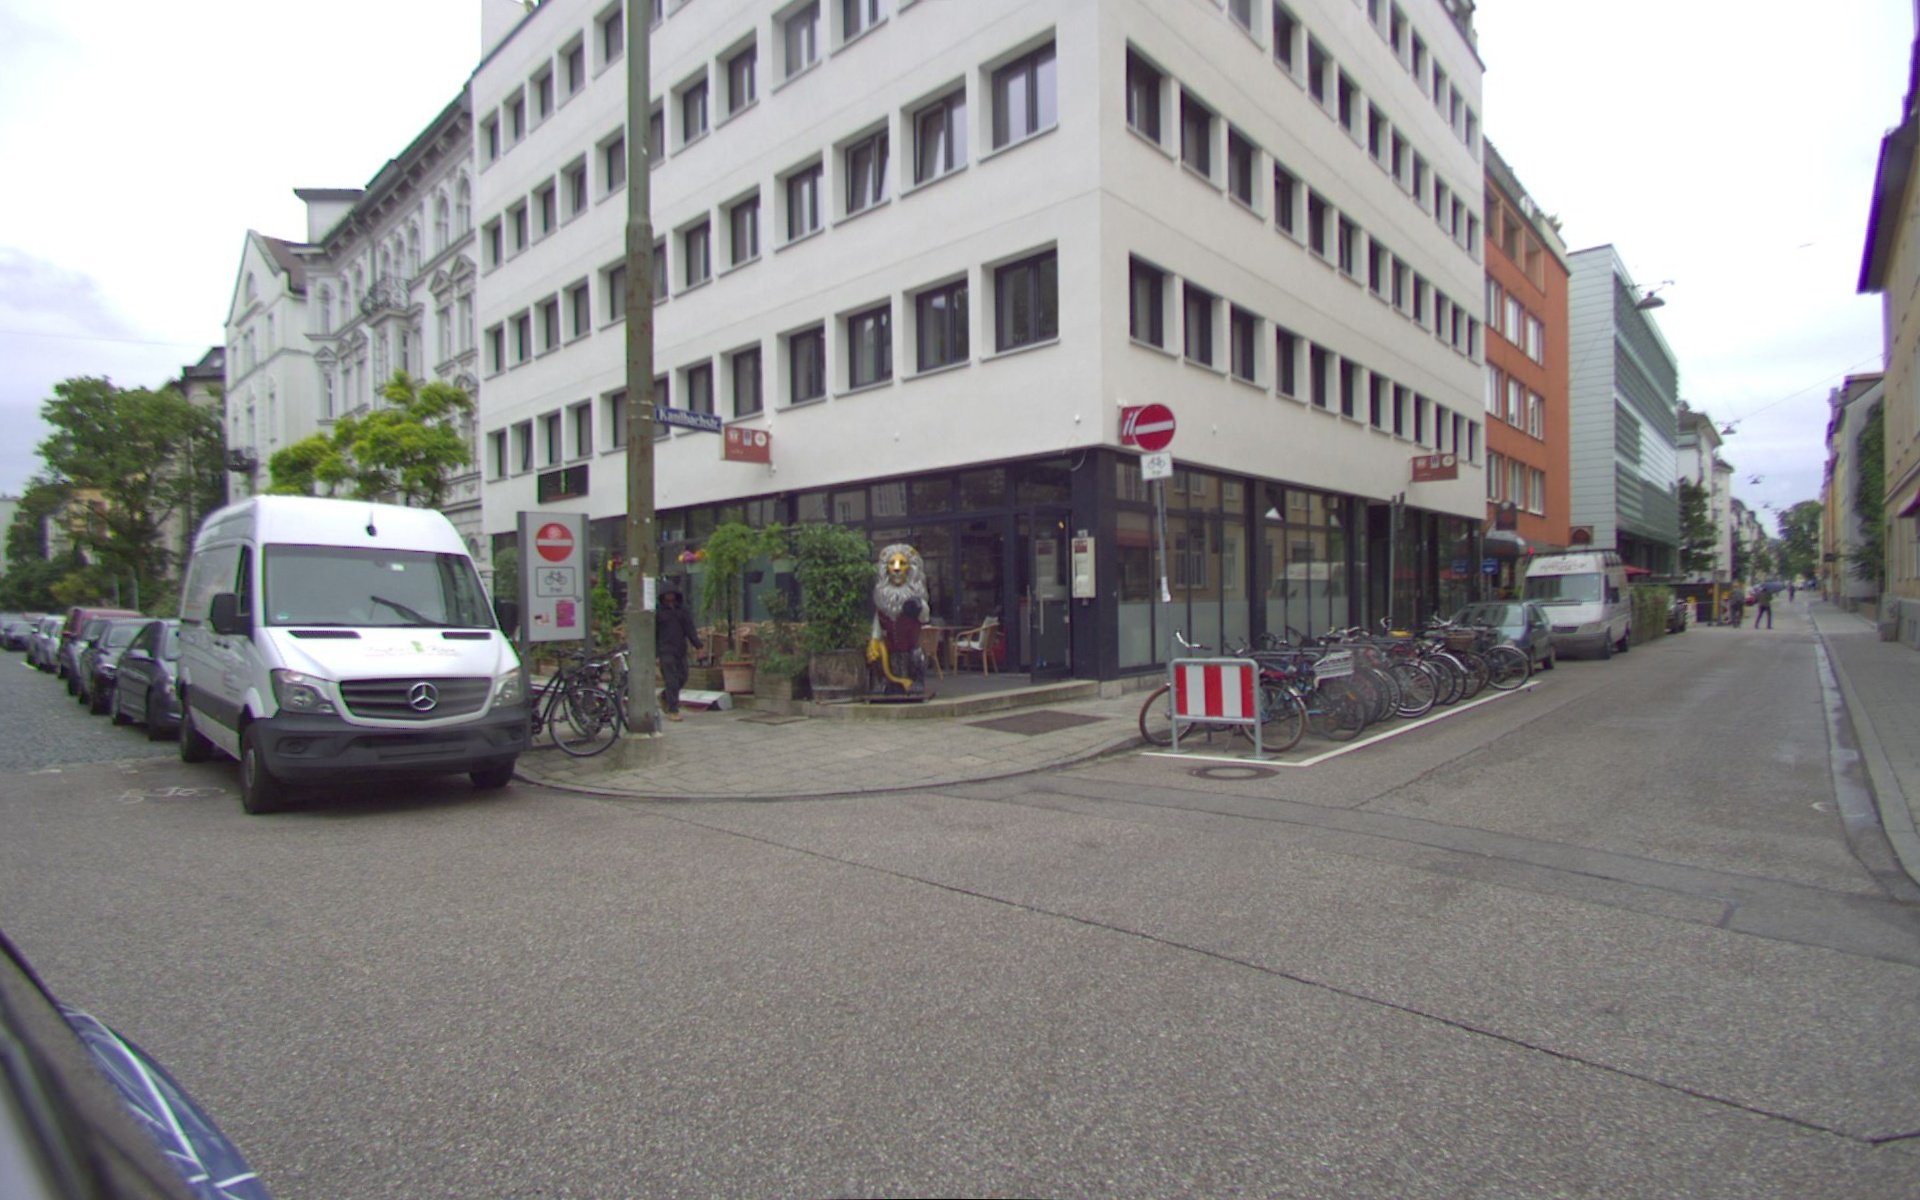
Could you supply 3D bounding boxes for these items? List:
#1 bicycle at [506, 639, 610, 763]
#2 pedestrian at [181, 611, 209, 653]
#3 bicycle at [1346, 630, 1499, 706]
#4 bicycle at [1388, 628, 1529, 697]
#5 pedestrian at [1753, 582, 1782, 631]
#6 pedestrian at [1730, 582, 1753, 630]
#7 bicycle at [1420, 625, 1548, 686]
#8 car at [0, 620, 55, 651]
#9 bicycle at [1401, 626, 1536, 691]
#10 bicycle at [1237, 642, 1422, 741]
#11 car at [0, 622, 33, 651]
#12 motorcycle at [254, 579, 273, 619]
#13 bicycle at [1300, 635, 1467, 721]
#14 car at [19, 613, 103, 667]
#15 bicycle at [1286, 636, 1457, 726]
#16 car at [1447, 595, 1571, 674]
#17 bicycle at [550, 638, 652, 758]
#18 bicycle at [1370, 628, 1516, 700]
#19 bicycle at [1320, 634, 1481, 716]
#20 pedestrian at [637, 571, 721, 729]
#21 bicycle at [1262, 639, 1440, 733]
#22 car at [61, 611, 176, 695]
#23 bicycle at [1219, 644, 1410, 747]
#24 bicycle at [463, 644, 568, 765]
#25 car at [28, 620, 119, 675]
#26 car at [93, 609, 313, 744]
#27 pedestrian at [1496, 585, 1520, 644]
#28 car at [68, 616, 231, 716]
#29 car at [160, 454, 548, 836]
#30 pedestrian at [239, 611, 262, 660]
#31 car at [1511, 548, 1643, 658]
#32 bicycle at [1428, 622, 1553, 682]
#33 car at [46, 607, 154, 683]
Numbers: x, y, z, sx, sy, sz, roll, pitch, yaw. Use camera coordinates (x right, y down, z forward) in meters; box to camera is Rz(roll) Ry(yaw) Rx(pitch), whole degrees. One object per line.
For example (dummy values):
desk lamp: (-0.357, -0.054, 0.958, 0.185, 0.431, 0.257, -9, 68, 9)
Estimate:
bicycle: (-4.153, 0.994, 10.394, 1.807, 1.135, 0.252, -1, 1, 44)
pedestrian: (-30.759, 1.267, 40.710, 0.656, 1.640, 0.671, -1, 0, -13)
bicycle: (6.421, 0.916, 14.112, 1.892, 0.975, 0.393, -1, 0, 39)
bicycle: (7.608, 0.925, 15.502, 1.892, 0.975, 0.393, -1, 0, 39)
pedestrian: (33.852, 0.266, 42.416, 0.871, 2.029, 0.876, -1, 0, 36)
pedestrian: (33.155, 0.244, 42.931, 0.718, 2.029, 0.876, -1, 0, 36)
bicycle: (8.890, 0.924, 17.230, 1.892, 0.975, 0.393, -1, 0, 39)
car: (-45.296, 1.688, 49.039, 4.810, 1.430, 1.860, -1, 0, 44)
bicycle: (8.126, 0.912, 16.226, 1.892, 0.975, 0.393, -1, 0, 39)
bicycle: (4.044, 0.974, 11.183, 1.892, 0.975, 0.393, -1, 0, 39)
car: (-51.174, 1.926, 54.495, 1.690, 1.435, 4.003, -2, 1, -44)
motorcycle: (-21.548, -0.023, 31.312, 0.326, 1.188, 1.630, -1, 0, -30)
bicycle: (5.266, 0.949, 12.671, 1.892, 0.975, 0.393, -1, 0, 39)
car: (-29.375, 1.249, 33.029, 4.069, 1.584, 1.671, -1, 1, 43)
bicycle: (4.962, 0.951, 12.300, 1.892, 0.975, 0.393, -1, 0, 39)
car: (10.934, 0.622, 20.061, 1.489, 1.418, 3.642, -1, 0, 40)
bicycle: (-3.820, 0.994, 10.692, 1.731, 1.135, 0.252, -1, 1, 44)
bicycle: (7.051, 0.908, 14.842, 1.892, 0.975, 0.393, -1, 0, 39)
bicycle: (5.751, 0.956, 13.286, 1.892, 0.975, 0.393, -1, 0, 39)
pedestrian: (-3.431, 0.584, 12.357, 0.813, 1.854, 0.607, -1, 0, 38)
bicycle: (4.504, 0.963, 11.750, 1.892, 0.975, 0.393, -1, 0, 39)
car: (-17.395, 1.004, 20.875, 1.672, 1.515, 3.782, -2, 1, -41)
bicycle: (3.753, 0.981, 10.824, 1.892, 0.975, 0.393, -1, 0, 39)
bicycle: (-4.523, 1.018, 10.241, 1.816, 1.099, 0.282, -1, -1, 44)
car: (-25.695, 1.322, 29.295, 3.816, 1.404, 1.613, -1, 1, 43)
car: (-10.142, 0.893, 13.451, 3.982, 1.493, 1.643, -1, 1, 43)
pedestrian: (16.394, 0.423, 30.282, 0.522, 1.753, 0.486, -1, -1, 40)
car: (-13.890, 1.032, 17.248, 1.706, 1.476, 4.476, 2, -2, -44)
car: (-6.060, 0.341, 9.667, 1.953, 2.593, 5.799, 1, -2, -43)
pedestrian: (-24.105, 1.197, 34.385, 0.568, 1.659, 0.823, 1, -2, -38)
car: (15.615, 0.009, 25.420, 1.963, 2.406, 6.399, -1, 1, 39)
bicycle: (9.285, 0.893, 17.762, 1.892, 0.975, 0.393, -1, 0, 39)
car: (-21.171, 1.041, 24.877, 3.900, 1.736, 1.698, -1, -1, 45)
